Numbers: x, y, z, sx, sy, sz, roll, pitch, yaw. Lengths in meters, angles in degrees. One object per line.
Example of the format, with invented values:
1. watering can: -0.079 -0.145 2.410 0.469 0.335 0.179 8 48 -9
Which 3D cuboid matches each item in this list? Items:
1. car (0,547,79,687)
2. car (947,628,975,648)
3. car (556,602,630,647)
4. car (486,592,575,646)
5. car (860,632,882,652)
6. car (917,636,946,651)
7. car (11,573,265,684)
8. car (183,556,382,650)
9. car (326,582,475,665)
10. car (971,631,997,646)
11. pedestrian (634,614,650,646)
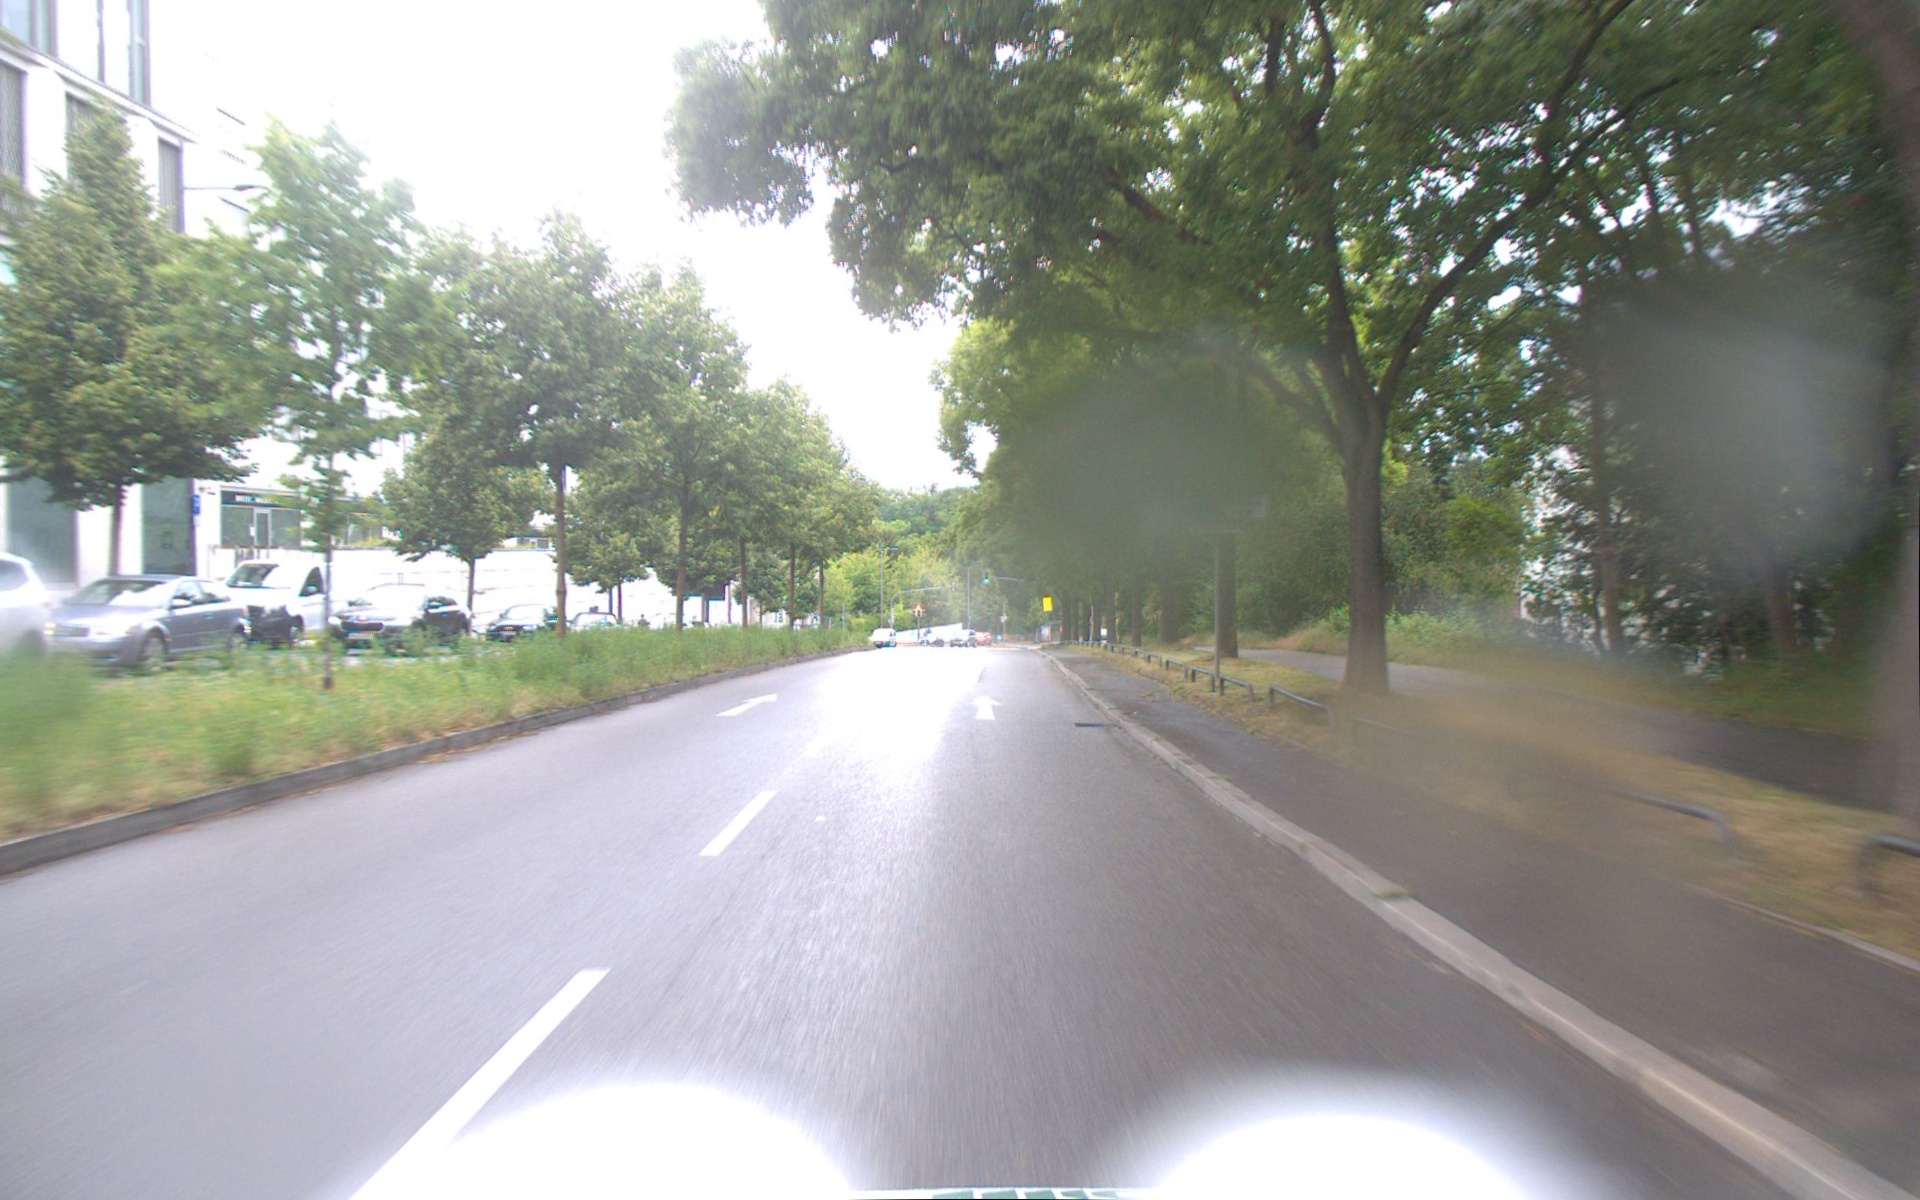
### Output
1. car: -12.089 0.228 18.511 1.791 1.628 4.676 0 2 2
2. car: 0.124 4.047 176.863 1.880 1.890 4.509 -4 -2 14
3. car: -13.580 0.881 61.416 1.659 1.469 3.862 1 1 4
4. car: -13.744 0.578 53.104 1.659 1.609 4.018 1 1 2
5. car: -8.018 3.795 149.780 1.675 1.777 4.337 0 -1 1
6. car: -2.857 4.357 164.693 1.732 1.405 4.193 -2 -2 15
7. car: -11.978 0.354 24.406 1.607 1.435 3.998 0 2 2
8. car: -14.461 0.079 35.697 2.078 1.848 5.260 1 -1 0
9. car: -11.598 0.443 34.538 1.660 1.609 4.018 1 1 1
10. car: 2.780 4.506 192.861 1.835 1.602 4.225 2 -1 17
11. pedestrian: -18.120 1.694 94.365 0.693 1.806 1.021 0 -2 1
